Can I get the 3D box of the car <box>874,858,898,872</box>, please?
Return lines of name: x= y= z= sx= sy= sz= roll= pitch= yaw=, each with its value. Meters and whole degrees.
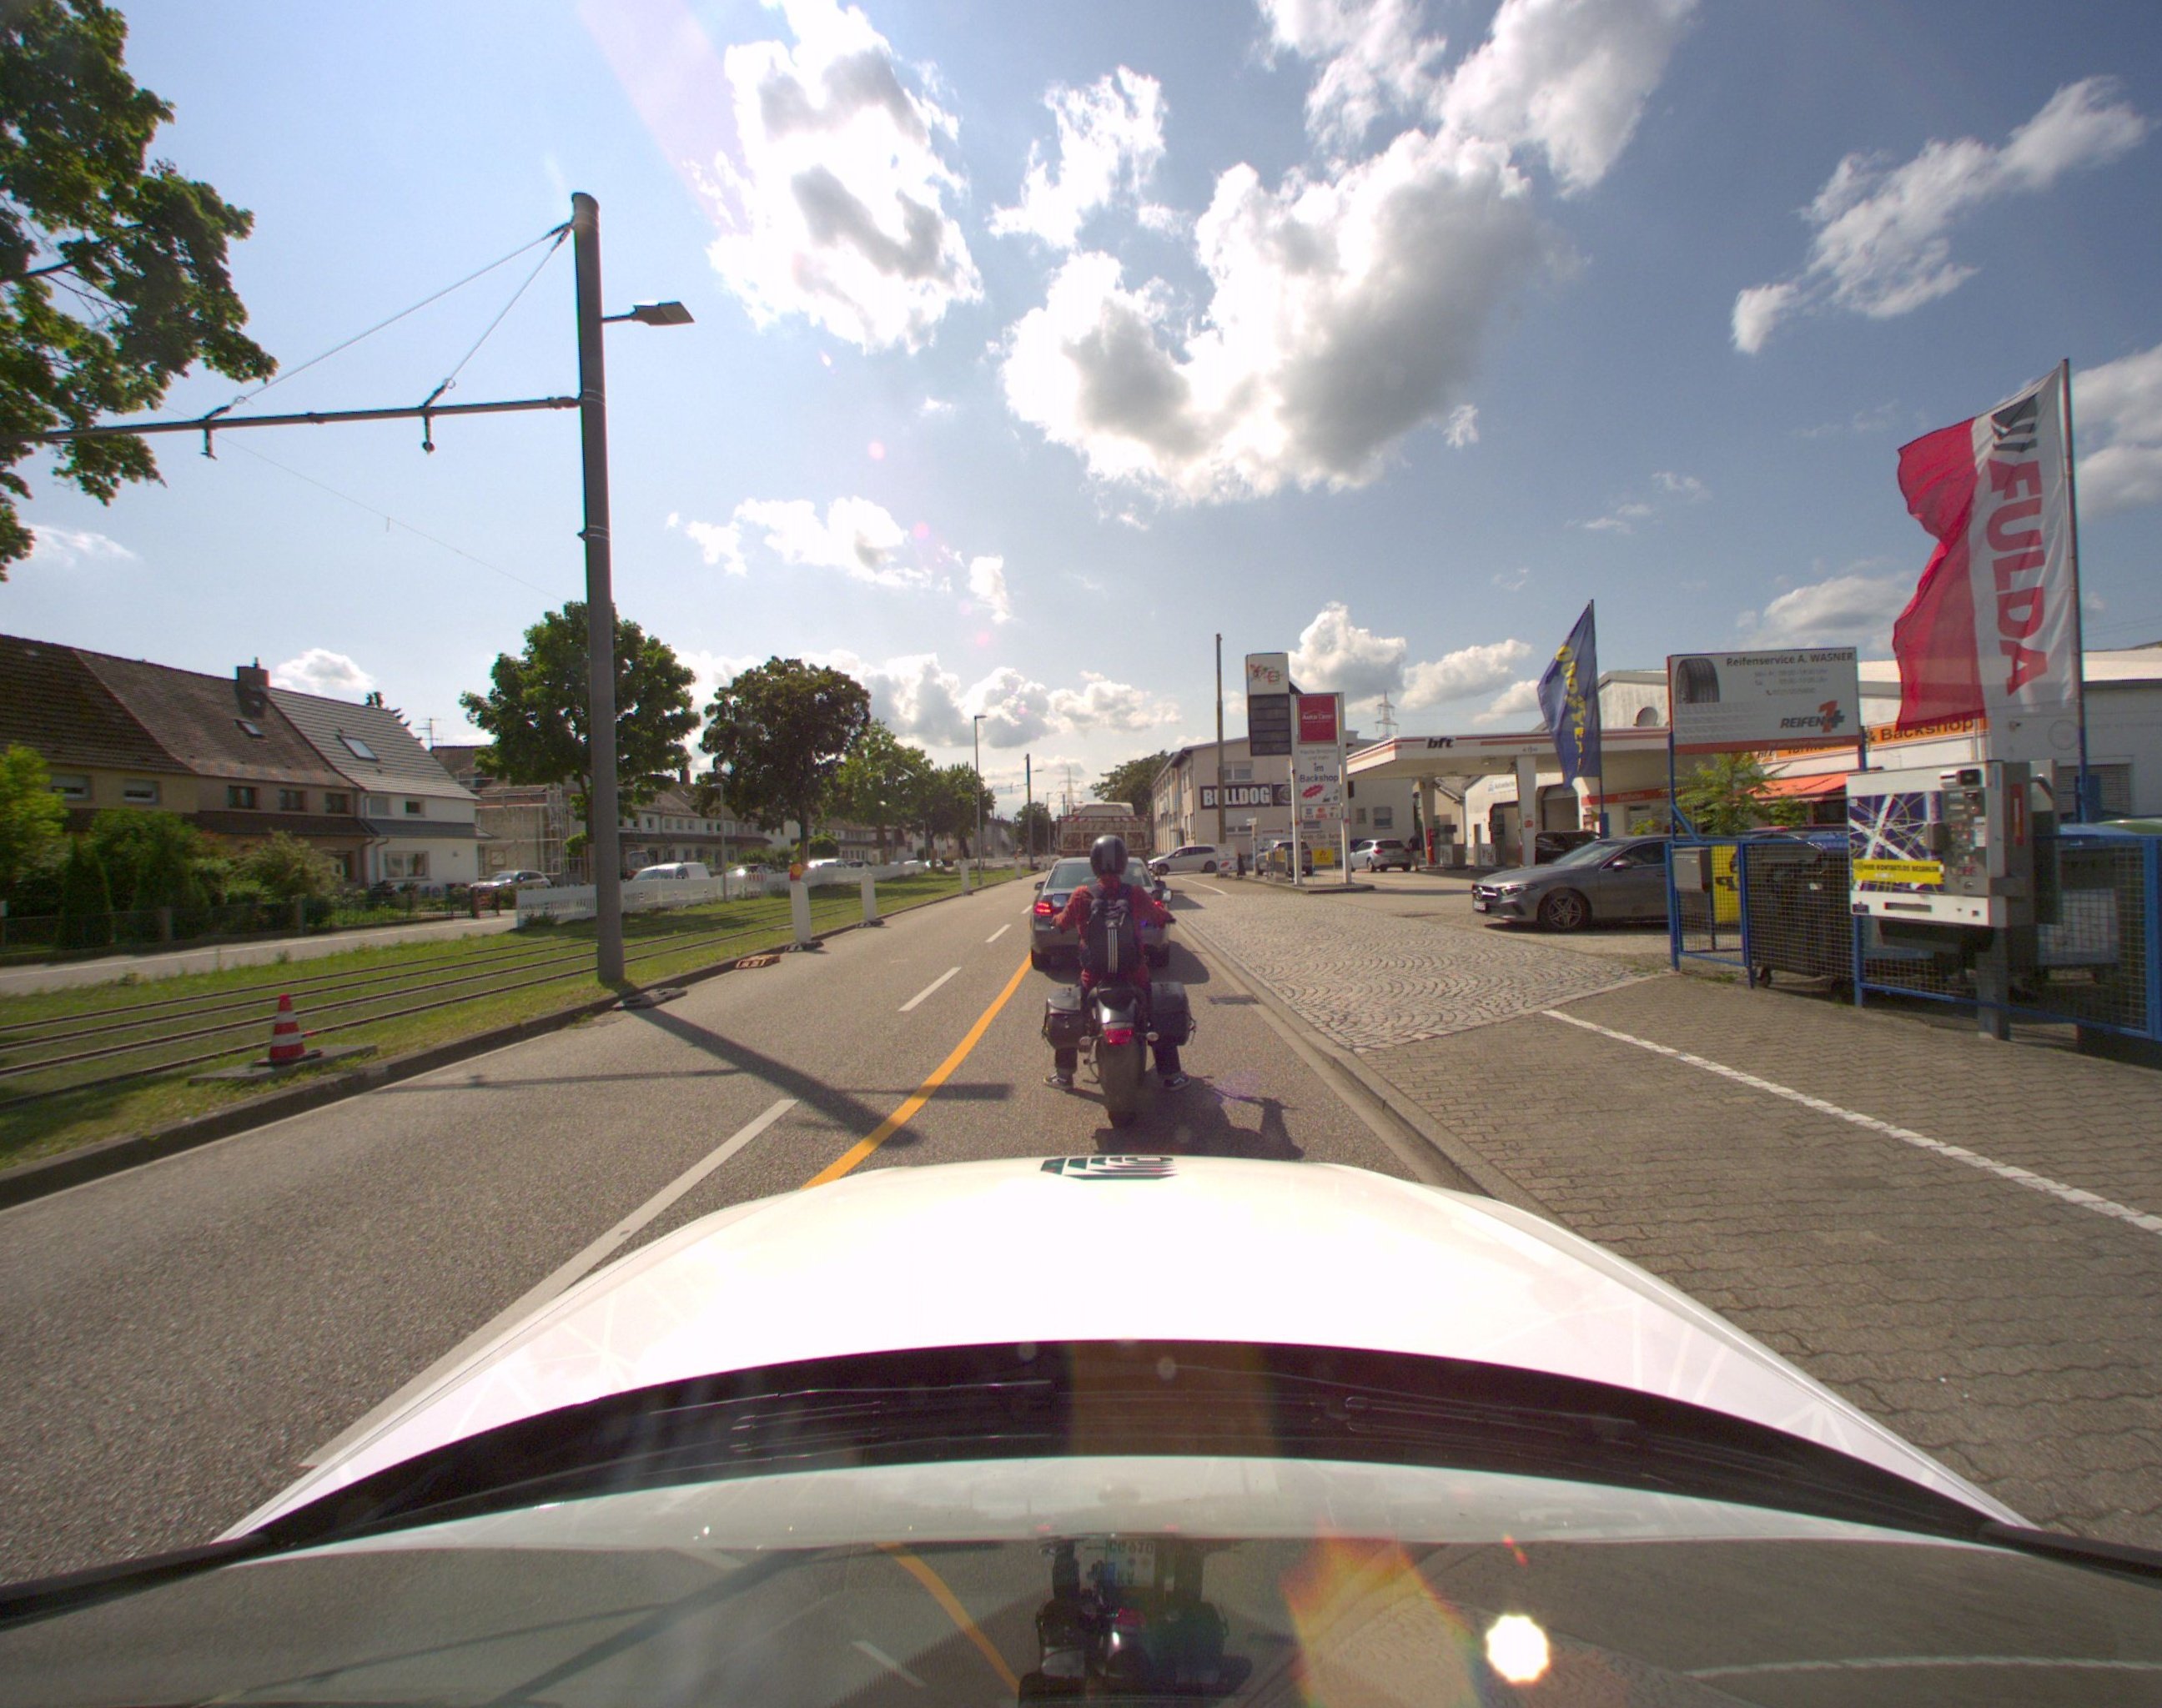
car: x=-25.162 y=1.402 z=105.204 sx=1.769 sy=1.722 sz=4.130 roll=-2 pitch=0 yaw=2

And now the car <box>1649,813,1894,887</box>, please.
car: x=15.770 y=-0.088 z=18.757 sx=4.180 sy=1.463 sz=1.587 roll=-2 pitch=0 yaw=2

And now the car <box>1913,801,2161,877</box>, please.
car: x=21.518 y=-0.339 z=18.165 sx=4.180 sy=1.463 sz=1.587 roll=-2 pitch=0 yaw=2

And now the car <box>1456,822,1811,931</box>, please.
car: x=8.337 y=0.331 z=12.609 sx=4.252 sy=1.415 sz=1.676 roll=-2 pitch=0 yaw=5

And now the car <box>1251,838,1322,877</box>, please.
car: x=9.113 y=0.151 z=36.453 sx=1.665 sy=1.562 sz=4.235 roll=-2 pitch=0 yaw=-6

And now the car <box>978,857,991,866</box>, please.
car: x=-19.097 y=1.533 z=161.354 sx=1.769 sy=1.722 sz=4.252 roll=-2 pitch=0 yaw=2

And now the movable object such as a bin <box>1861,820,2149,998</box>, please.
movable object such as a bin: x=8.079 y=0.444 z=7.218 sx=1.104 sy=1.396 sz=1.244 roll=-2 pitch=0 yaw=1

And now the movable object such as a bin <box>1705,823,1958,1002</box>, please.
movable object such as a bin: x=6.685 y=0.478 z=7.358 sx=1.104 sy=1.436 sz=1.244 roll=-2 pitch=0 yaw=1

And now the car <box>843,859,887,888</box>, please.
car: x=-14.808 y=1.335 z=56.038 sx=1.769 sy=1.805 sz=4.130 roll=-2 pitch=0 yaw=2

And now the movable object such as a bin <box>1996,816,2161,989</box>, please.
movable object such as a bin: x=9.482 y=0.374 z=7.130 sx=1.397 sy=1.396 sz=1.338 roll=-2 pitch=0 yaw=1

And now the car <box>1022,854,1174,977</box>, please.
car: x=0.265 y=0.739 z=11.781 sx=1.816 sy=1.452 sz=4.002 roll=0 pitch=0 yaw=2

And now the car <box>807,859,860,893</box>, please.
car: x=-15.067 y=1.327 z=49.861 sx=1.769 sy=1.867 sz=4.130 roll=-2 pitch=0 yaw=2

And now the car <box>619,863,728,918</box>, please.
car: x=-15.428 y=1.314 z=31.155 sx=1.769 sy=1.821 sz=4.366 roll=-2 pitch=0 yaw=2

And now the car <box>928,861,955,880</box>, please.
car: x=-13.731 y=1.632 z=80.455 sx=1.769 sy=1.722 sz=4.130 roll=-2 pitch=0 yaw=2

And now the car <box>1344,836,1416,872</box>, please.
car: x=13.473 y=-0.007 z=36.919 sx=1.800 sy=1.503 sz=3.832 roll=-2 pitch=0 yaw=-1

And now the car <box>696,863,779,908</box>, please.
car: x=-15.411 y=1.381 z=36.799 sx=1.769 sy=1.774 sz=4.230 roll=-2 pitch=0 yaw=2

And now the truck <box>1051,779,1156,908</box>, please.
truck: x=0.724 y=-0.288 z=25.500 sx=2.628 sy=3.296 sz=8.059 roll=-2 pitch=0 yaw=2

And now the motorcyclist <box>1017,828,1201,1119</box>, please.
motorcyclist: x=0.176 y=0.675 z=5.141 sx=0.975 sy=1.602 sz=1.088 roll=-2 pitch=0 yaw=1

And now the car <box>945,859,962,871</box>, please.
car: x=-19.635 y=1.636 z=125.917 sx=1.769 sy=1.722 sz=4.130 roll=-2 pitch=0 yaw=2

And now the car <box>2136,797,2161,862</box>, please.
car: x=26.522 y=-0.635 z=18.001 sx=4.180 sy=1.463 sz=1.587 roll=-2 pitch=0 yaw=2

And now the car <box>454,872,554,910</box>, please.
car: x=-27.440 y=1.725 z=38.895 sx=1.769 sy=1.519 sz=4.002 roll=-2 pitch=0 yaw=2

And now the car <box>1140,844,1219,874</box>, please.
car: x=5.648 y=0.294 z=47.046 sx=4.225 sy=1.543 sz=1.669 roll=-2 pitch=0 yaw=-7

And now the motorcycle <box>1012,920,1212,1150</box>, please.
motorcycle: x=0.200 y=1.024 z=5.445 sx=0.975 sy=0.897 sz=2.654 roll=-2 pitch=0 yaw=2

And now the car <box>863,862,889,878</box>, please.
car: x=-24.391 y=1.839 z=97.043 sx=1.769 sy=1.722 sz=4.130 roll=-2 pitch=0 yaw=2

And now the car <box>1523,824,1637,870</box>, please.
car: x=18.116 y=-0.246 z=29.784 sx=1.800 sy=1.503 sz=3.833 roll=-2 pitch=0 yaw=0

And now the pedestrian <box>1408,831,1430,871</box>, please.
pedestrian: x=14.649 y=-0.131 z=35.318 sx=0.701 sy=1.656 sz=0.551 roll=-2 pitch=0 yaw=37
